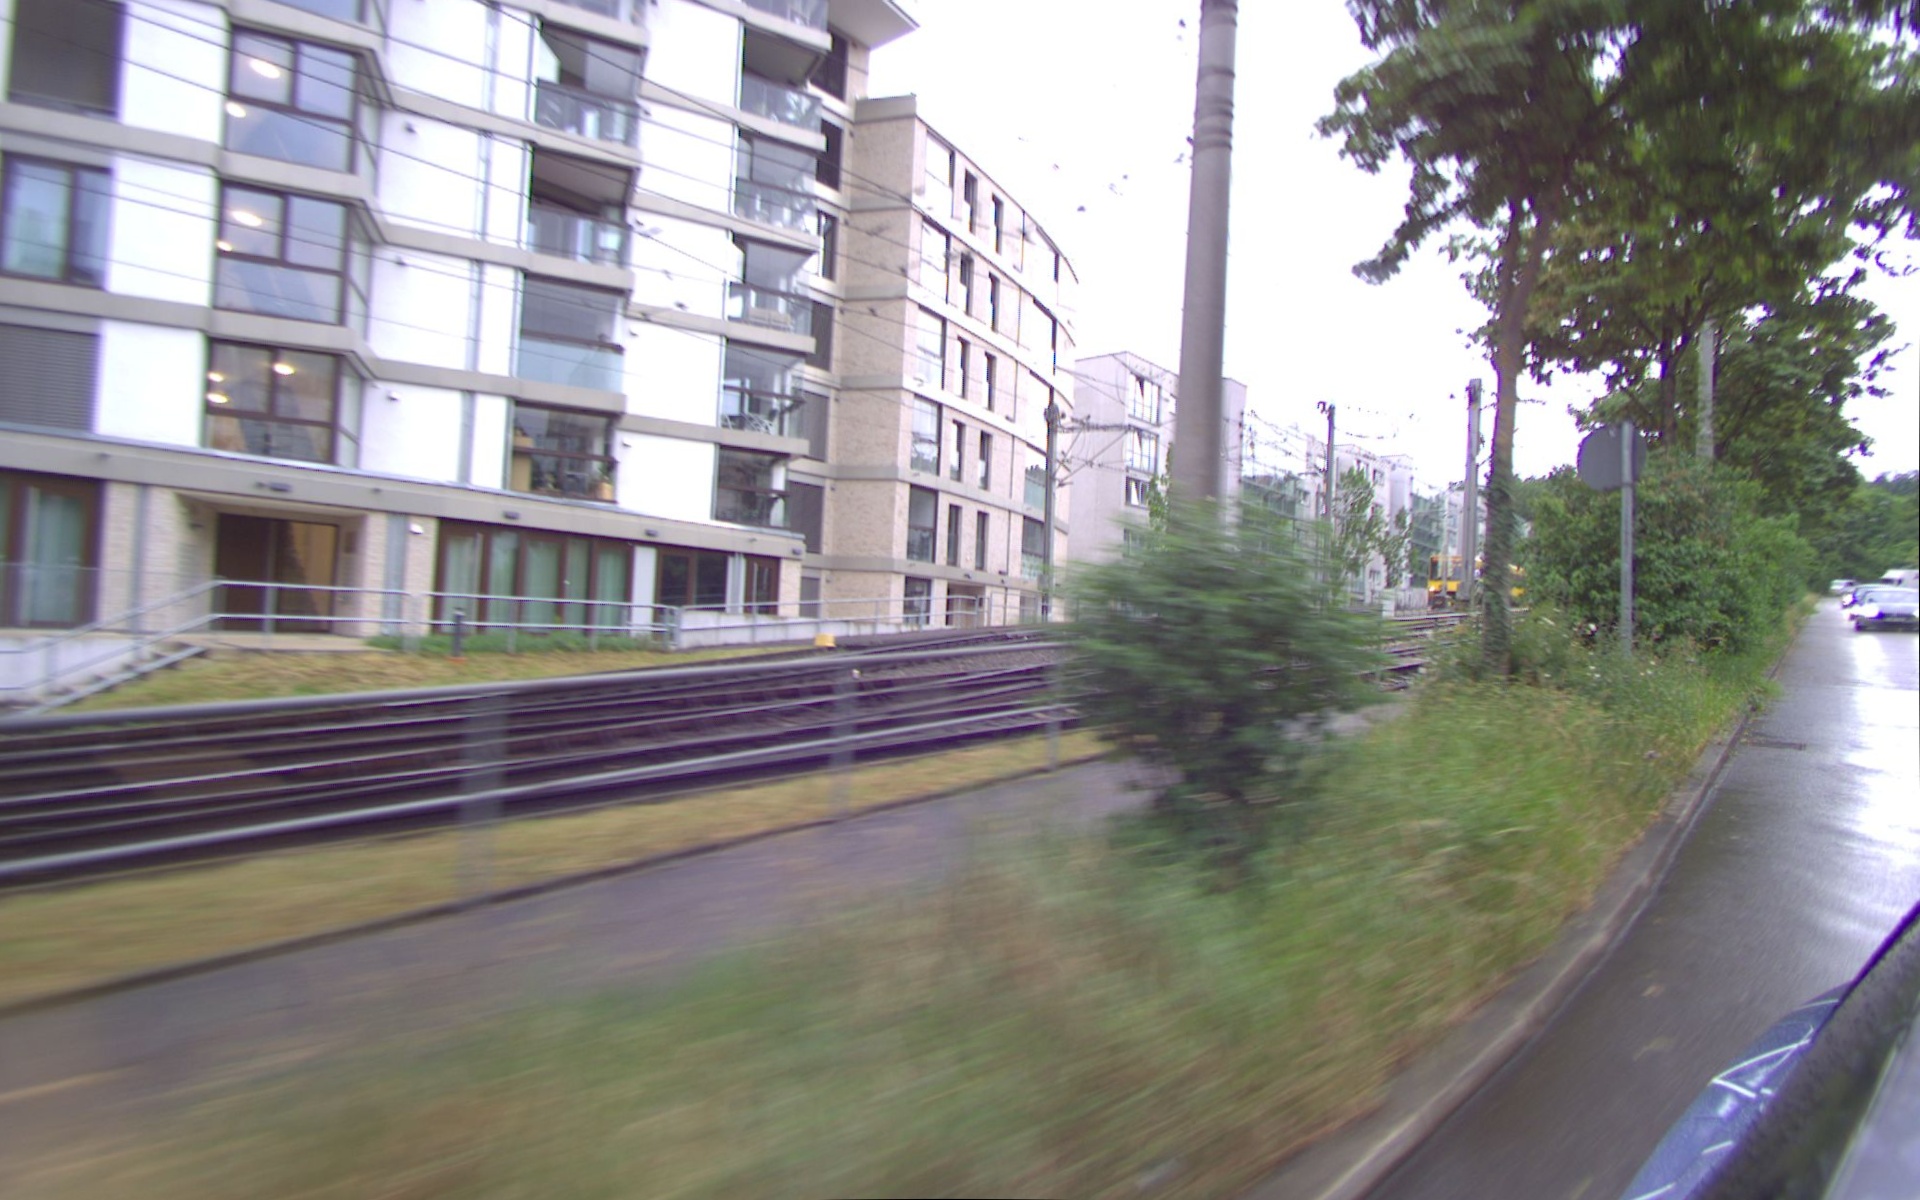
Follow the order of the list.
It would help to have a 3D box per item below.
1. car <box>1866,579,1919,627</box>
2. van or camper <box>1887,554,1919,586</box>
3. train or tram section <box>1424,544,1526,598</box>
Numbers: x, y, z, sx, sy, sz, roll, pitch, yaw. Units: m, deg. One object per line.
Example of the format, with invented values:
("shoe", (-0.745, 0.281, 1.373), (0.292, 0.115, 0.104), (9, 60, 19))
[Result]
("car", (31.876, 0.089, 34.130), (1.855, 1.497, 3.940), (-3, -2, 41))
("van or camper", (123.580, -3.806, 129.739), (7.974, 3.987, 2.896), (0, 1, -12))
("train or tram section", (38.277, -2.085, 74.800), (3.195, 3.605, 14.284), (1, 1, 42))
